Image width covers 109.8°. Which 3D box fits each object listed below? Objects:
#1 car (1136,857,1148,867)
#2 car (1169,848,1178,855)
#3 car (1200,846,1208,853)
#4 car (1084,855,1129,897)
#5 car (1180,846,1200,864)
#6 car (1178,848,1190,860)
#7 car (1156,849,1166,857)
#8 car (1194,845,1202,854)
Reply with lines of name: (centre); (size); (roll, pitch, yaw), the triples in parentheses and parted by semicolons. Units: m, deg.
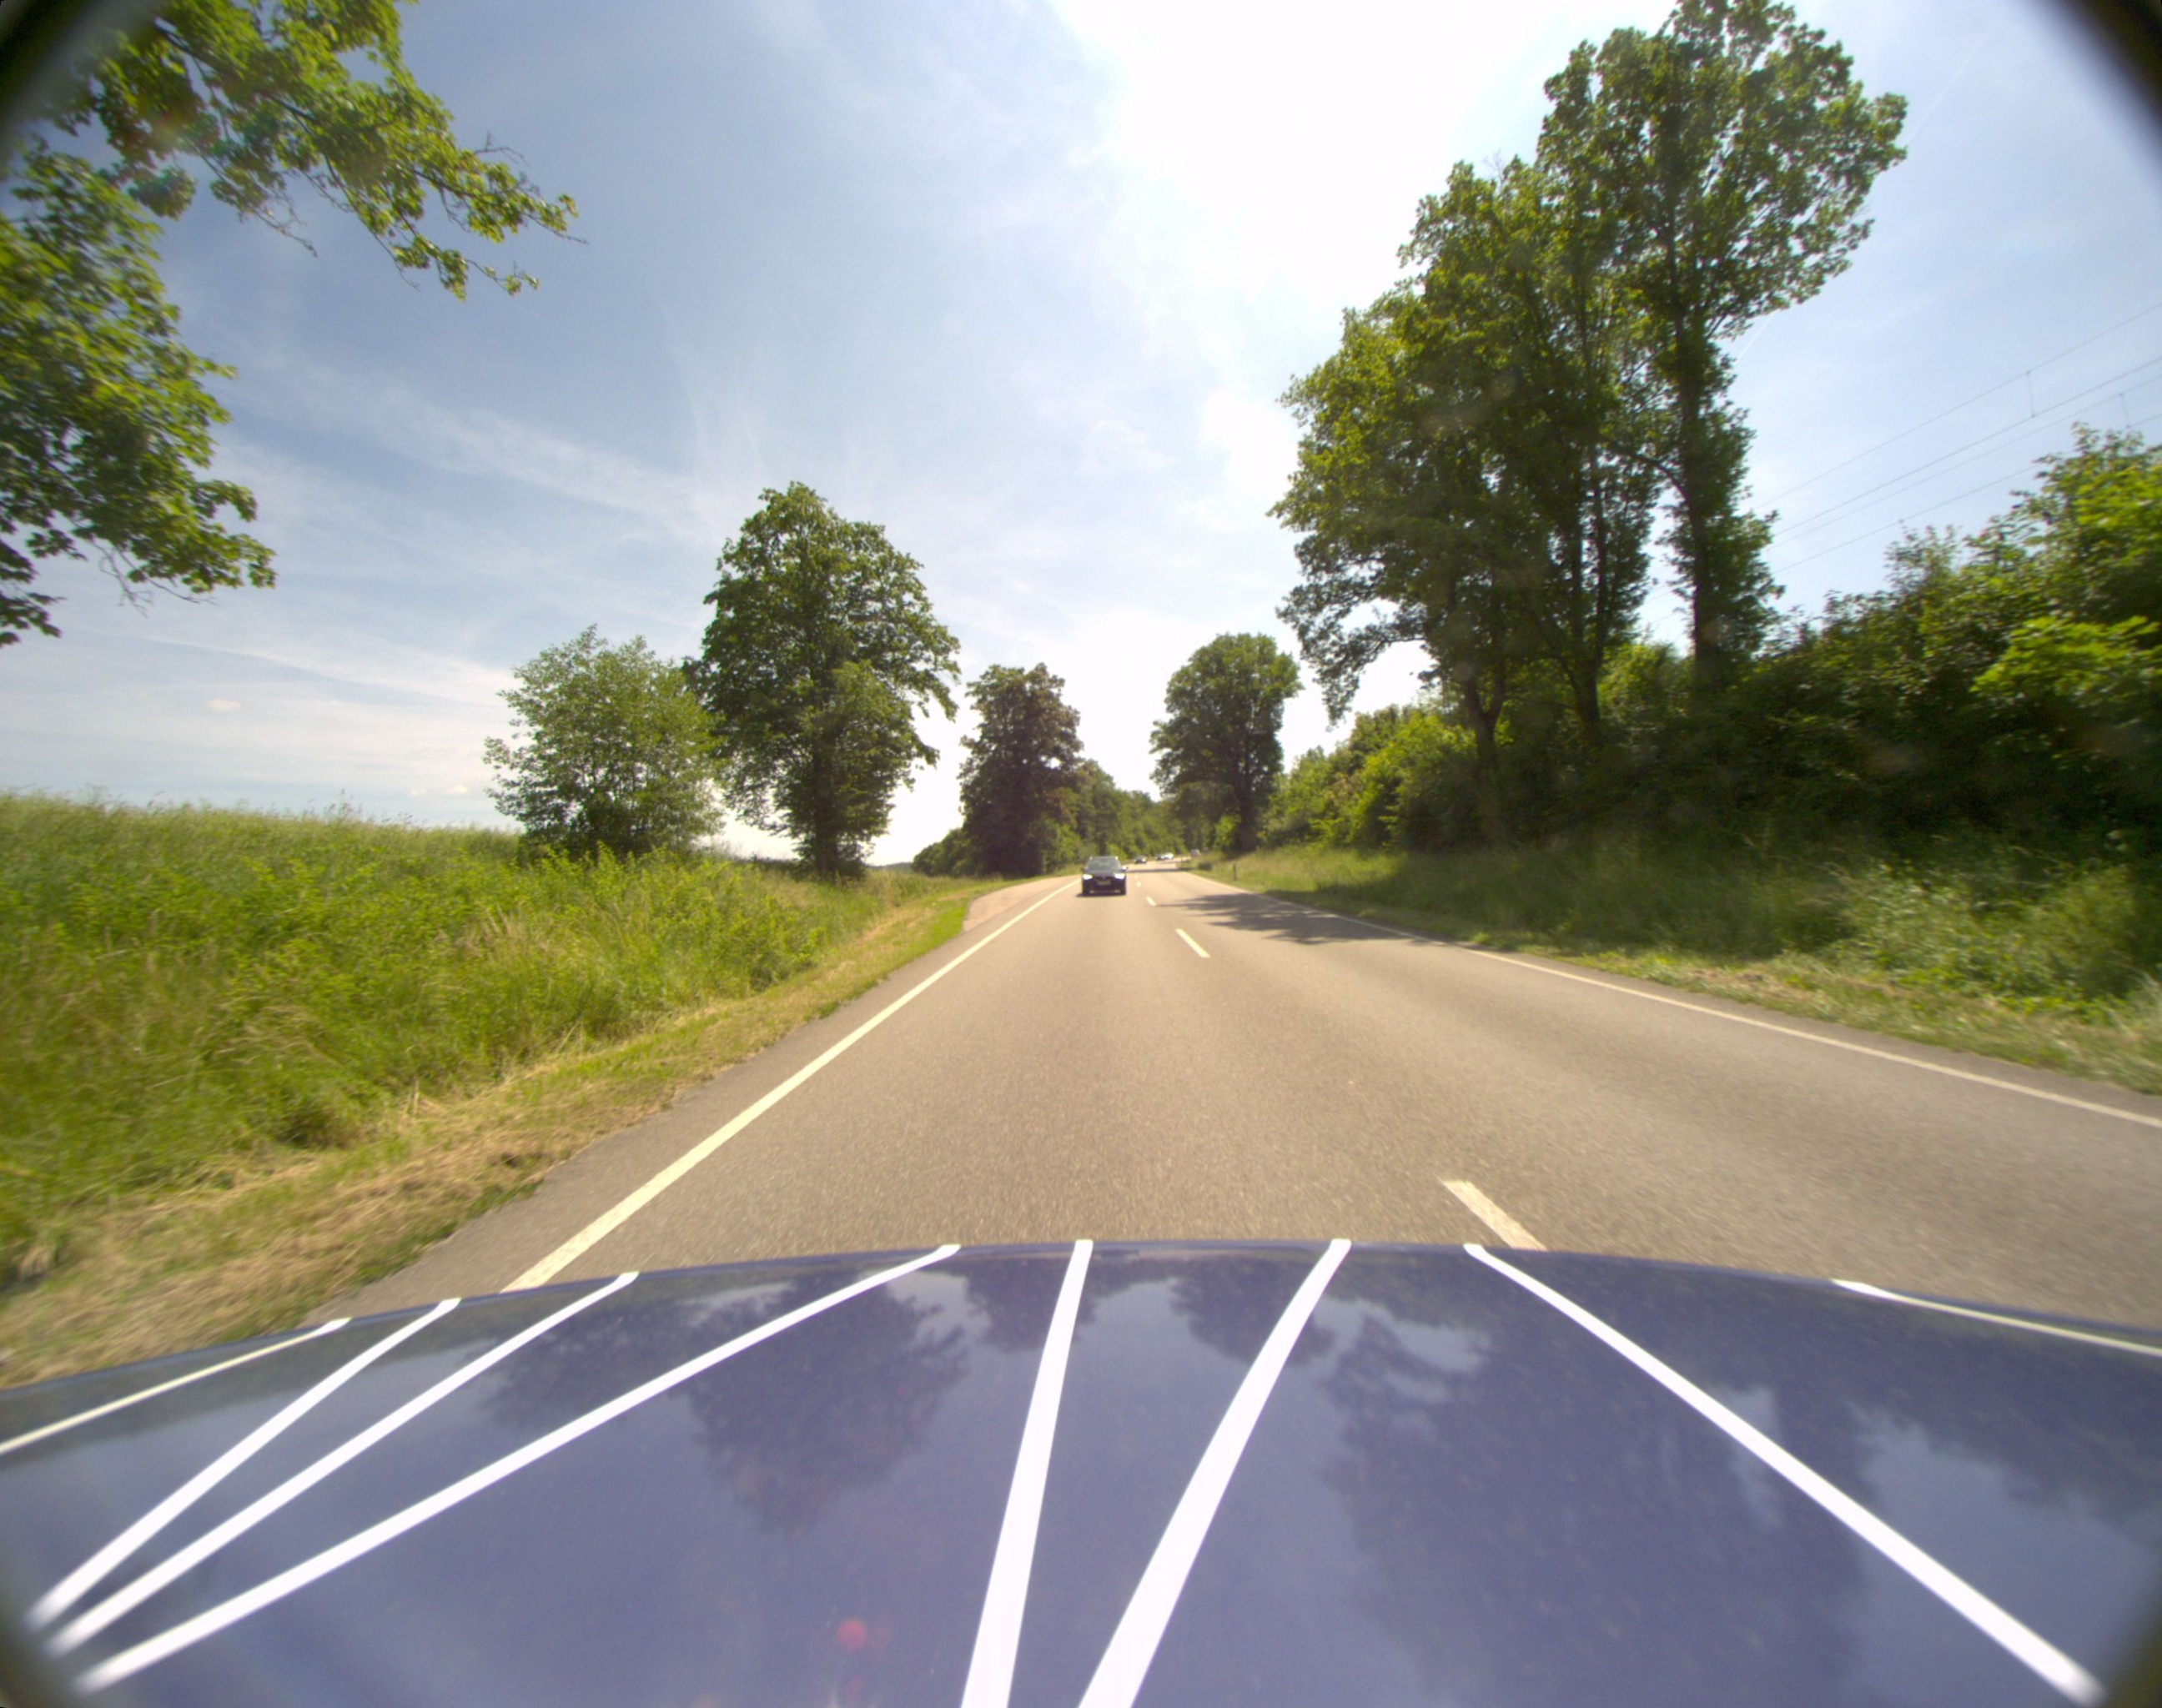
car: (10.128, 1.263, 125.820); (1.811, 1.580, 4.002); (-2, 0, 7)
car: (21.366, -0.658, 175.662); (1.810, 1.580, 4.003); (-2, 0, 10)
car: (34.414, -1.262, 212.243); (1.997, 2.002, 4.002); (-2, 0, 9)
car: (1.067, 0.830, 30.650); (1.661, 1.531, 3.487); (-2, 0, 3)
car: (12.807, 0.115, 89.425); (1.998, 2.002, 4.001); (-2, 0, 5)
car: (18.826, 0.025, 138.818); (1.997, 2.002, 4.002); (-2, 0, 8)
car: (16.663, -0.197, 158.607); (1.810, 1.580, 4.003); (-2, 0, 9)
car: (29.327, -1.127, 190.050); (1.997, 2.002, 4.002); (-2, 0, 9)
